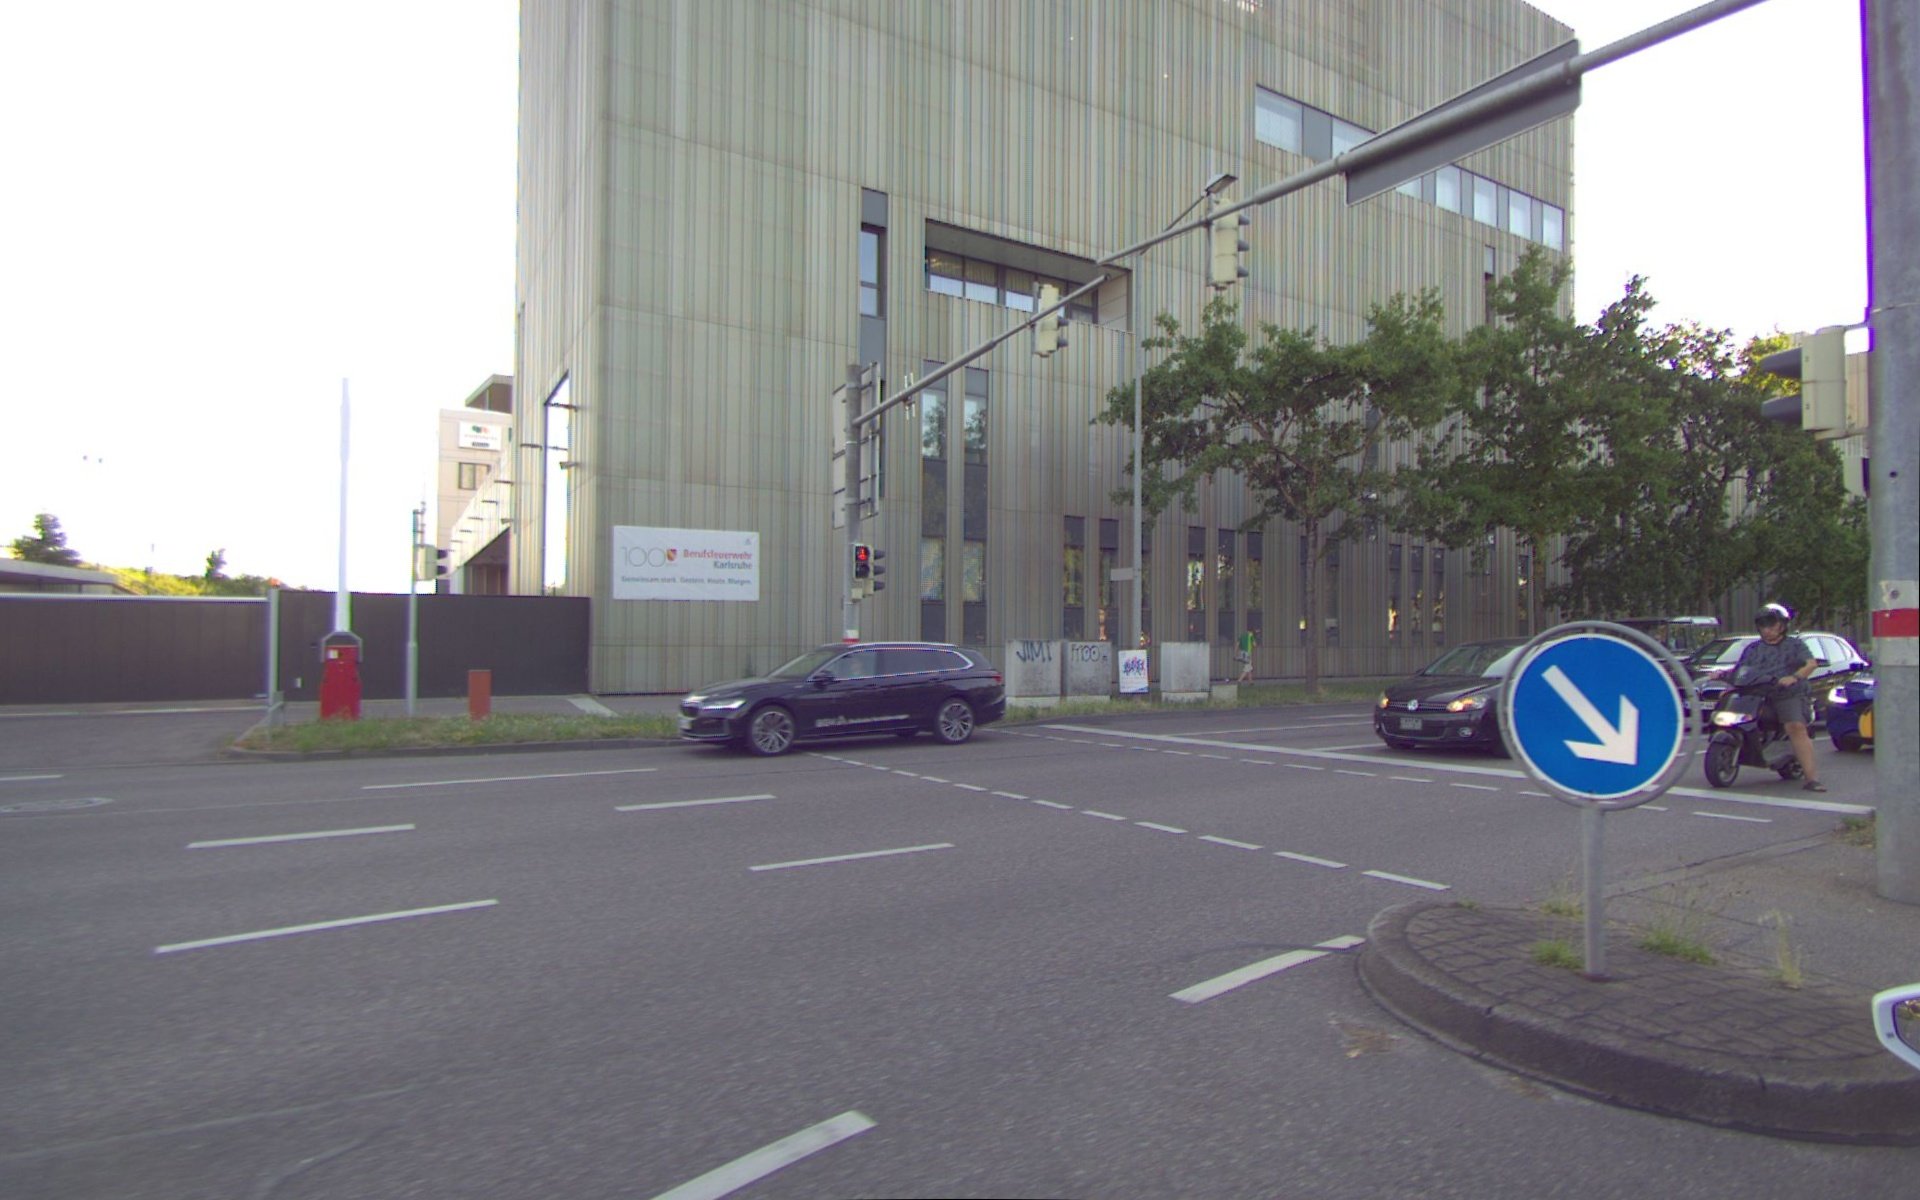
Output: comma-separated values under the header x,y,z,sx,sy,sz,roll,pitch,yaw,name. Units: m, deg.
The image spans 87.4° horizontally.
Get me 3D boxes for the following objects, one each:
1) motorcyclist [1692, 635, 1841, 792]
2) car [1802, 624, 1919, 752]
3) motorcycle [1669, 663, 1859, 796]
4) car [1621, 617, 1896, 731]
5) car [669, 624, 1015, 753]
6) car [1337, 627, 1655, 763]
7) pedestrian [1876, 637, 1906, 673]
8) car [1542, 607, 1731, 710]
x,y,z,sx,sy,sz,roll,pitch,yaw,name
7.719,1.036,9.610,1.263,1.367,0.791,0,-3,-37,motorcyclist
12.624,1.095,12.727,3.811,1.470,1.695,2,-6,-29,car
7.741,1.174,9.627,2.379,1.090,0.834,1,-4,-37,motorcycle
13.005,1.218,16.301,4.663,1.612,1.984,3,-6,-32,car
-1.671,1.283,14.754,4.663,1.612,1.984,3,-6,-32,car
7.212,1.195,13.452,4.035,1.495,1.983,3,-1,-32,car
53.770,3.162,58.040,0.950,2.040,1.014,2,-1,-30,pedestrian
14.381,1.220,21.322,3.949,2.004,1.786,1,-5,-32,car
